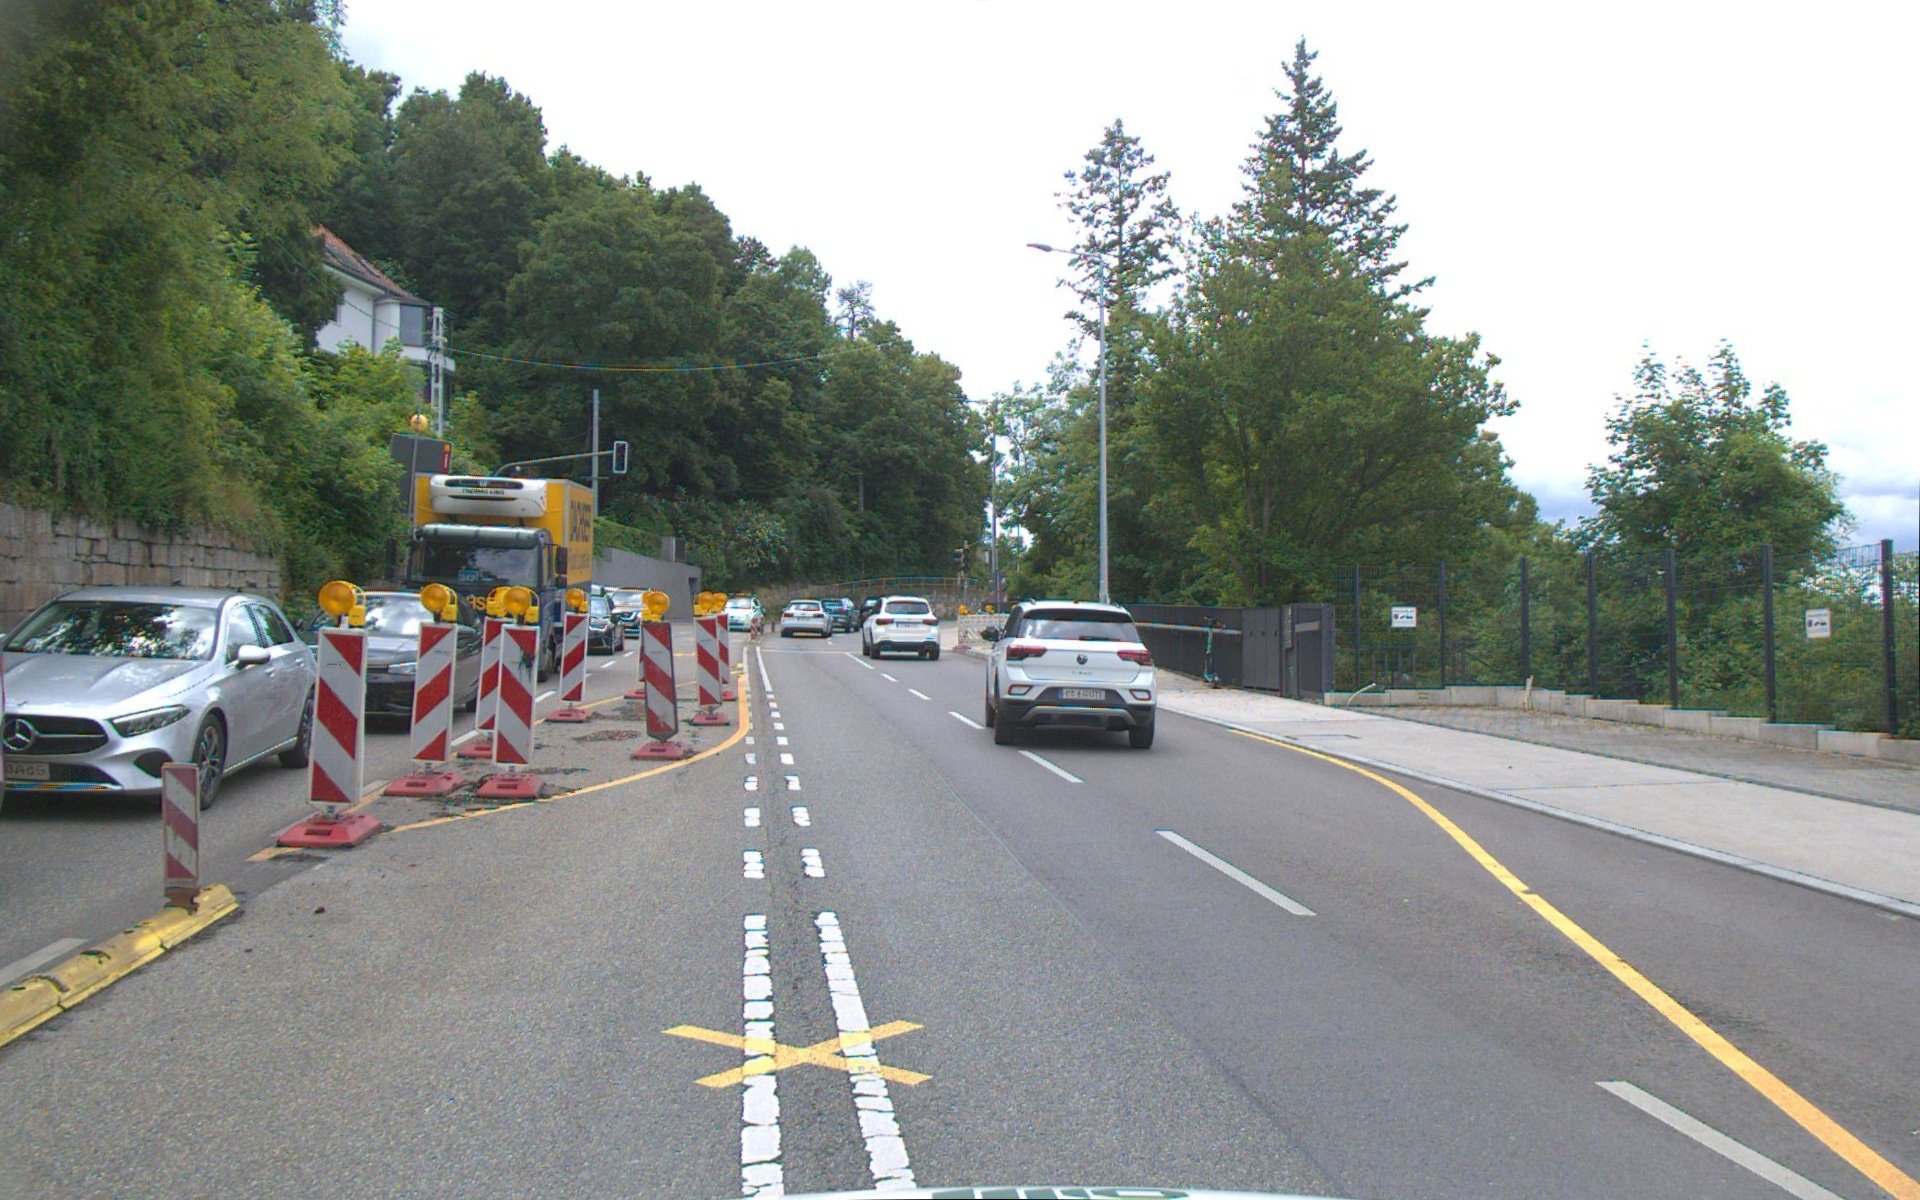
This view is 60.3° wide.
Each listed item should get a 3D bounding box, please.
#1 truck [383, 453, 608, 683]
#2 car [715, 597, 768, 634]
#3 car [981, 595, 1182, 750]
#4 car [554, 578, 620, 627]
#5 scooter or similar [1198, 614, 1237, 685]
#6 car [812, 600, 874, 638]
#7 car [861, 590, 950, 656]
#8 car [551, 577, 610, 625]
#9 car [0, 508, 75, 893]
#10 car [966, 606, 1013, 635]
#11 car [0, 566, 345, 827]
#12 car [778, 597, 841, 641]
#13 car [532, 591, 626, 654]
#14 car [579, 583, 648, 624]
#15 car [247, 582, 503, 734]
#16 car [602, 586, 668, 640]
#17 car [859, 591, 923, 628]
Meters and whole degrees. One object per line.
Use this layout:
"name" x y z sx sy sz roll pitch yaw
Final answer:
"truck" -8.107 -0.487 29.796 2.679 3.571 7.339 1 0 -7
"car" -9.451 0.646 71.748 1.676 1.492 3.661 2 0 1
"car" 1.281 0.757 18.981 1.830 1.563 3.801 2 0 -3
"car" -14.646 0.093 65.152 1.823 1.761 4.756 3 0 -5
"scooter or similar" 4.783 0.906 30.731 0.523 1.248 1.206 0 1 -1
"car" -5.279 0.870 75.348 1.951 1.568 4.013 3 -1 8
"car" -1.539 0.608 44.972 1.956 1.614 3.993 3 -1 -8
"car" -13.978 0.014 61.072 1.678 1.600 2.954 5 1 -6
"car" -5.241 0.435 6.239 1.768 1.822 4.336 3 -1 -6
"car" 1.913 1.298 104.524 1.778 1.719 4.001 2 -1 19
"car" -5.944 0.574 12.064 1.758 1.534 4.304 3 -1 -8
"car" -5.941 0.733 65.540 1.867 1.601 4.001 3 -1 3
"car" -9.579 0.532 41.918 1.775 1.455 4.867 2 0 -7
"car" -14.793 0.163 70.908 1.795 1.600 4.476 3 -1 2
"car" -6.545 0.596 19.034 1.737 1.467 4.738 3 -1 -7
"car" -11.050 0.424 56.555 1.847 1.726 4.664 1 0 -7
"car" -3.520 0.512 84.827 1.778 1.719 3.999 2 -1 21
